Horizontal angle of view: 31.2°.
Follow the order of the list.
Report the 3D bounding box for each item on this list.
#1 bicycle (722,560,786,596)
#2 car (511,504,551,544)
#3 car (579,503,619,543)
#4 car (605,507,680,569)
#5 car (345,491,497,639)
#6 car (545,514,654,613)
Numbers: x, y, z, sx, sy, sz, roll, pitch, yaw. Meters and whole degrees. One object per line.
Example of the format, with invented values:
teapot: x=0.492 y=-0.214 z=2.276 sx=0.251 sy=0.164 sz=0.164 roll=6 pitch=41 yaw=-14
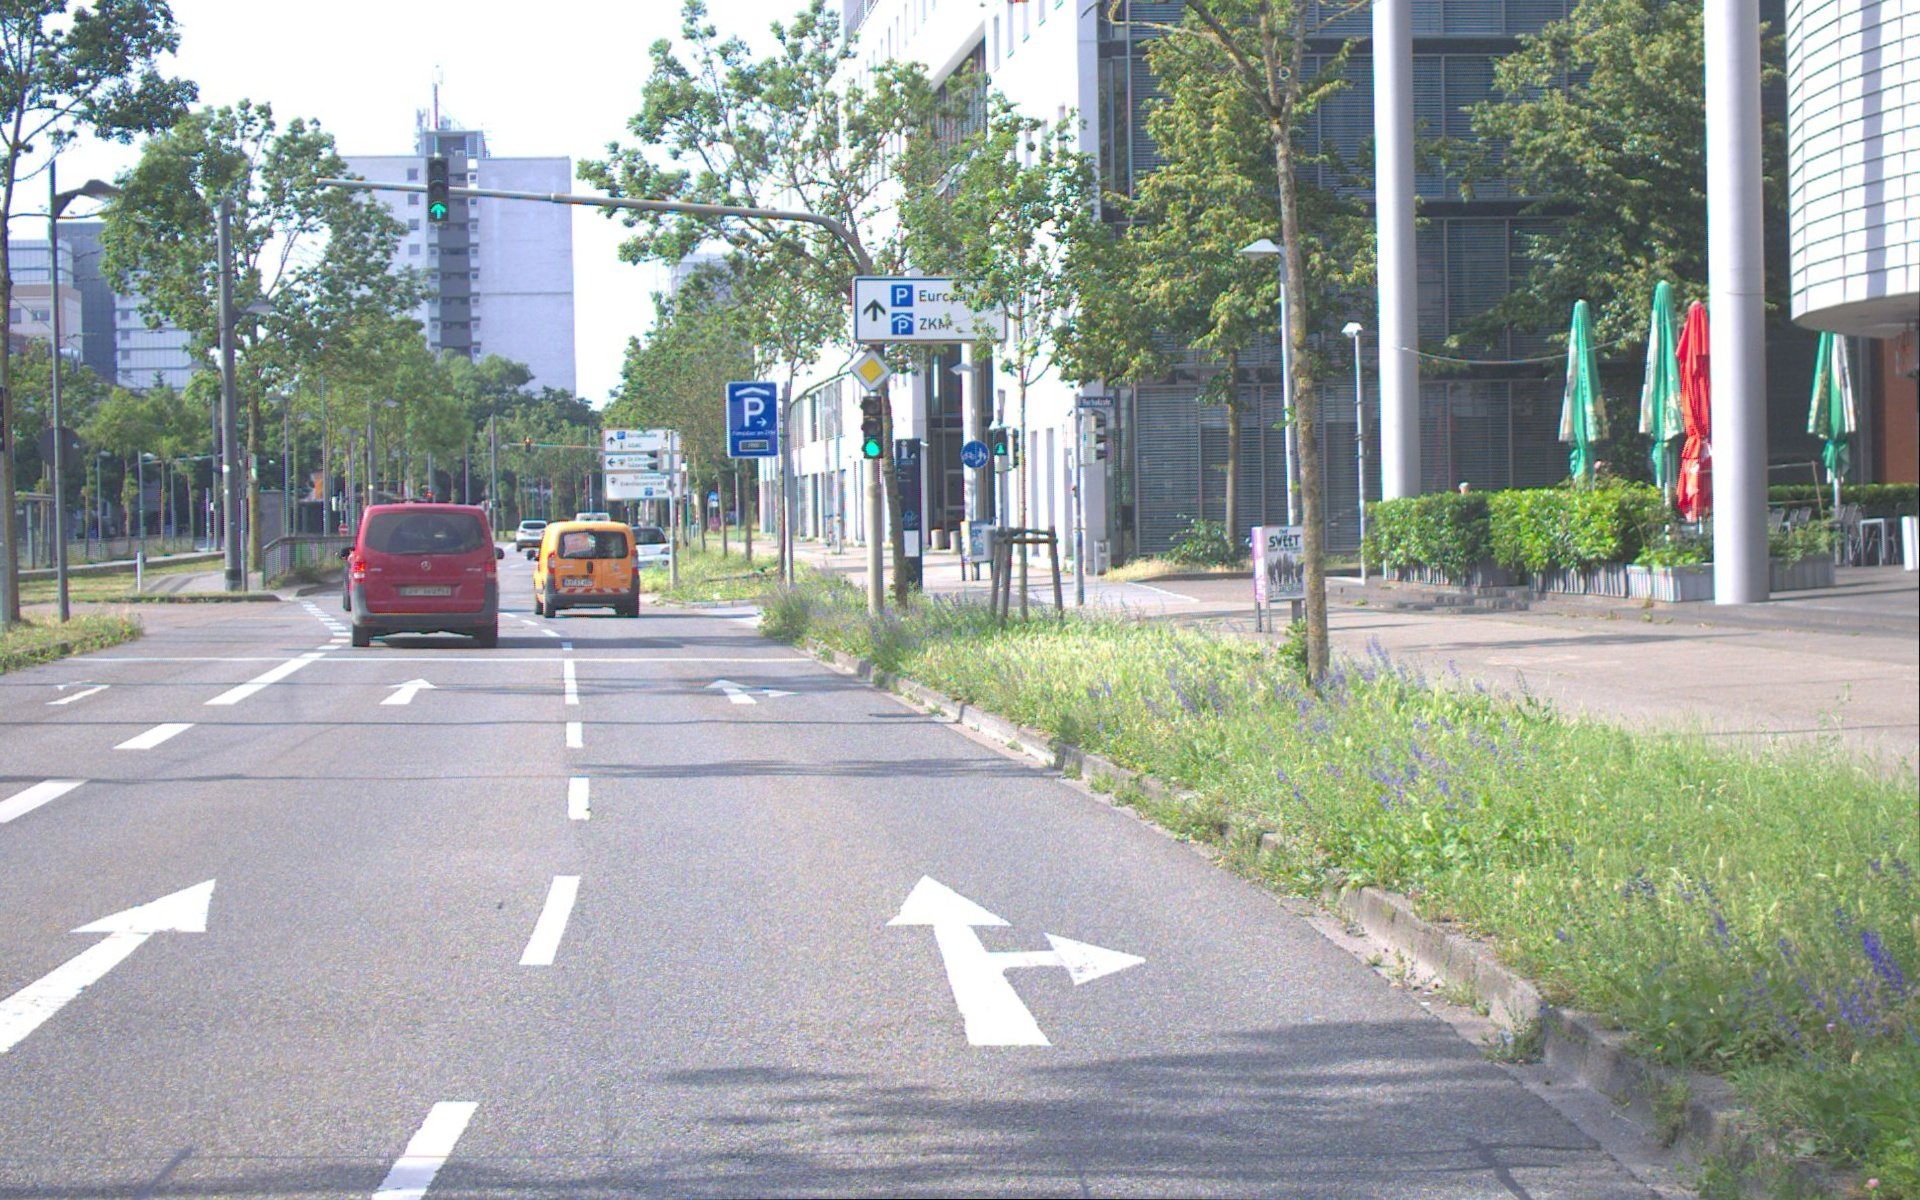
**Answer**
bicycle: x=-4.420 y=-0.474 z=73.759 sx=1.271 sy=0.630 sz=0.521 roll=-7 pitch=1 yaw=1
car: x=-21.935 y=-3.888 z=175.695 sx=1.993 sy=2.007 sz=4.001 roll=-1 pitch=1 yaw=-8
car: x=-18.600 y=-3.963 z=177.019 sx=1.993 sy=2.007 sz=4.001 roll=1 pitch=1 yaw=-7
car: x=-8.087 y=-1.596 z=87.452 sx=1.720 sy=1.514 sz=3.782 roll=-1 pitch=1 yaw=-8
car: x=-7.062 y=-0.490 z=45.283 sx=1.874 sy=1.847 sz=4.001 roll=-1 pitch=1 yaw=-8
car: x=-6.453 y=-0.682 z=61.579 sx=1.875 sy=1.690 sz=3.974 roll=-1 pitch=1 yaw=-6
